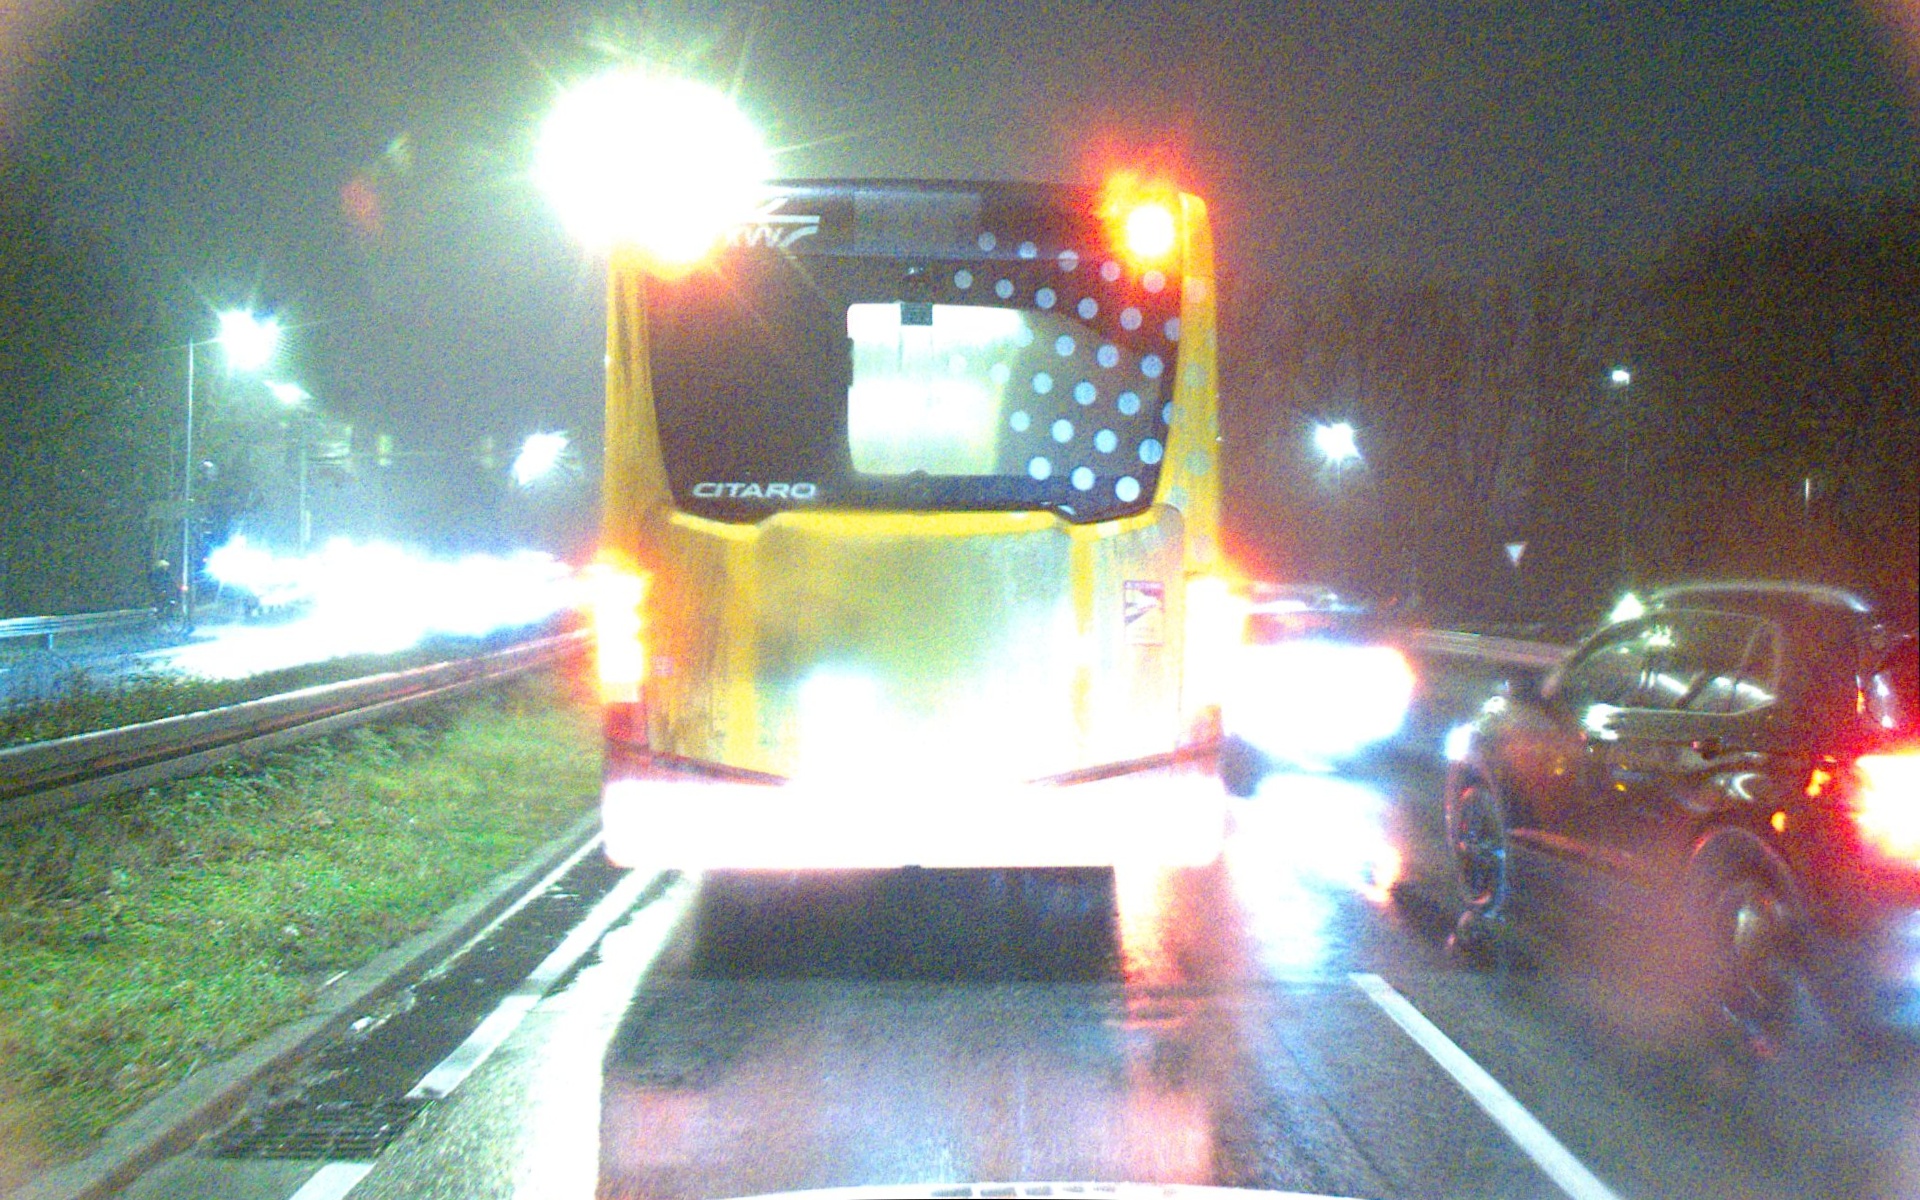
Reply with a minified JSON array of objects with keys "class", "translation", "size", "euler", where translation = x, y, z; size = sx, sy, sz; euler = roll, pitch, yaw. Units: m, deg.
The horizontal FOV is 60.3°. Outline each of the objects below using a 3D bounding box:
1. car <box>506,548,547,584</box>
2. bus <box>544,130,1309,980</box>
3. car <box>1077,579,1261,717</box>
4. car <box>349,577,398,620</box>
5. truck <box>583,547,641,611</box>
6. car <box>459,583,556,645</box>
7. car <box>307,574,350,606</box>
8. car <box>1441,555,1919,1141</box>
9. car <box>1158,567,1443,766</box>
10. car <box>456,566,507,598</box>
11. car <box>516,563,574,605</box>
[{"class":"car","translation":[-26.392,-2.055,100.842],"size":[2.084,2.049,3.988],"euler":[3,0,-12]},{"class":"bus","translation":[-0.157,-0.181,10.526],"size":[2.758,3.076,8.686],"euler":[2,0,-1]},{"class":"car","translation":[2.617,0.556,21.543],"size":[1.783,1.618,3.775],"euler":[1,0,-2]},{"class":"car","translation":[-24.639,-0.064,69.587],"size":[1.759,1.735,3.980],"euler":[1,0,-18]},{"class":"truck","translation":[-14.447,-0.926,68.542],"size":[1.827,2.434,4.755],"euler":[0,3,-18]},{"class":"car","translation":[-11.683,0.342,42.935],"size":[1.957,1.512,3.992],"euler":[1,0,-9]},{"class":"car","translation":[-34.502,-0.556,90.316],"size":[1.766,1.675,3.964],"euler":[1,0,-28]},{"class":"car","translation":[3.347,0.697,6.419],"size":[1.704,1.592,3.775],"euler":[2,0,-2]},{"class":"car","translation":[3.042,0.541,15.547],"size":[1.783,1.618,3.775],"euler":[1,0,-2]},{"class":"car","translation":[-26.603,-1.026,91.935],"size":[1.734,1.659,3.583],"euler":[3,0,-32]},{"class":"car","translation":[-21.661,-0.838,86.206],"size":[1.970,2.049,3.964],"euler":[3,0,-28]}]
